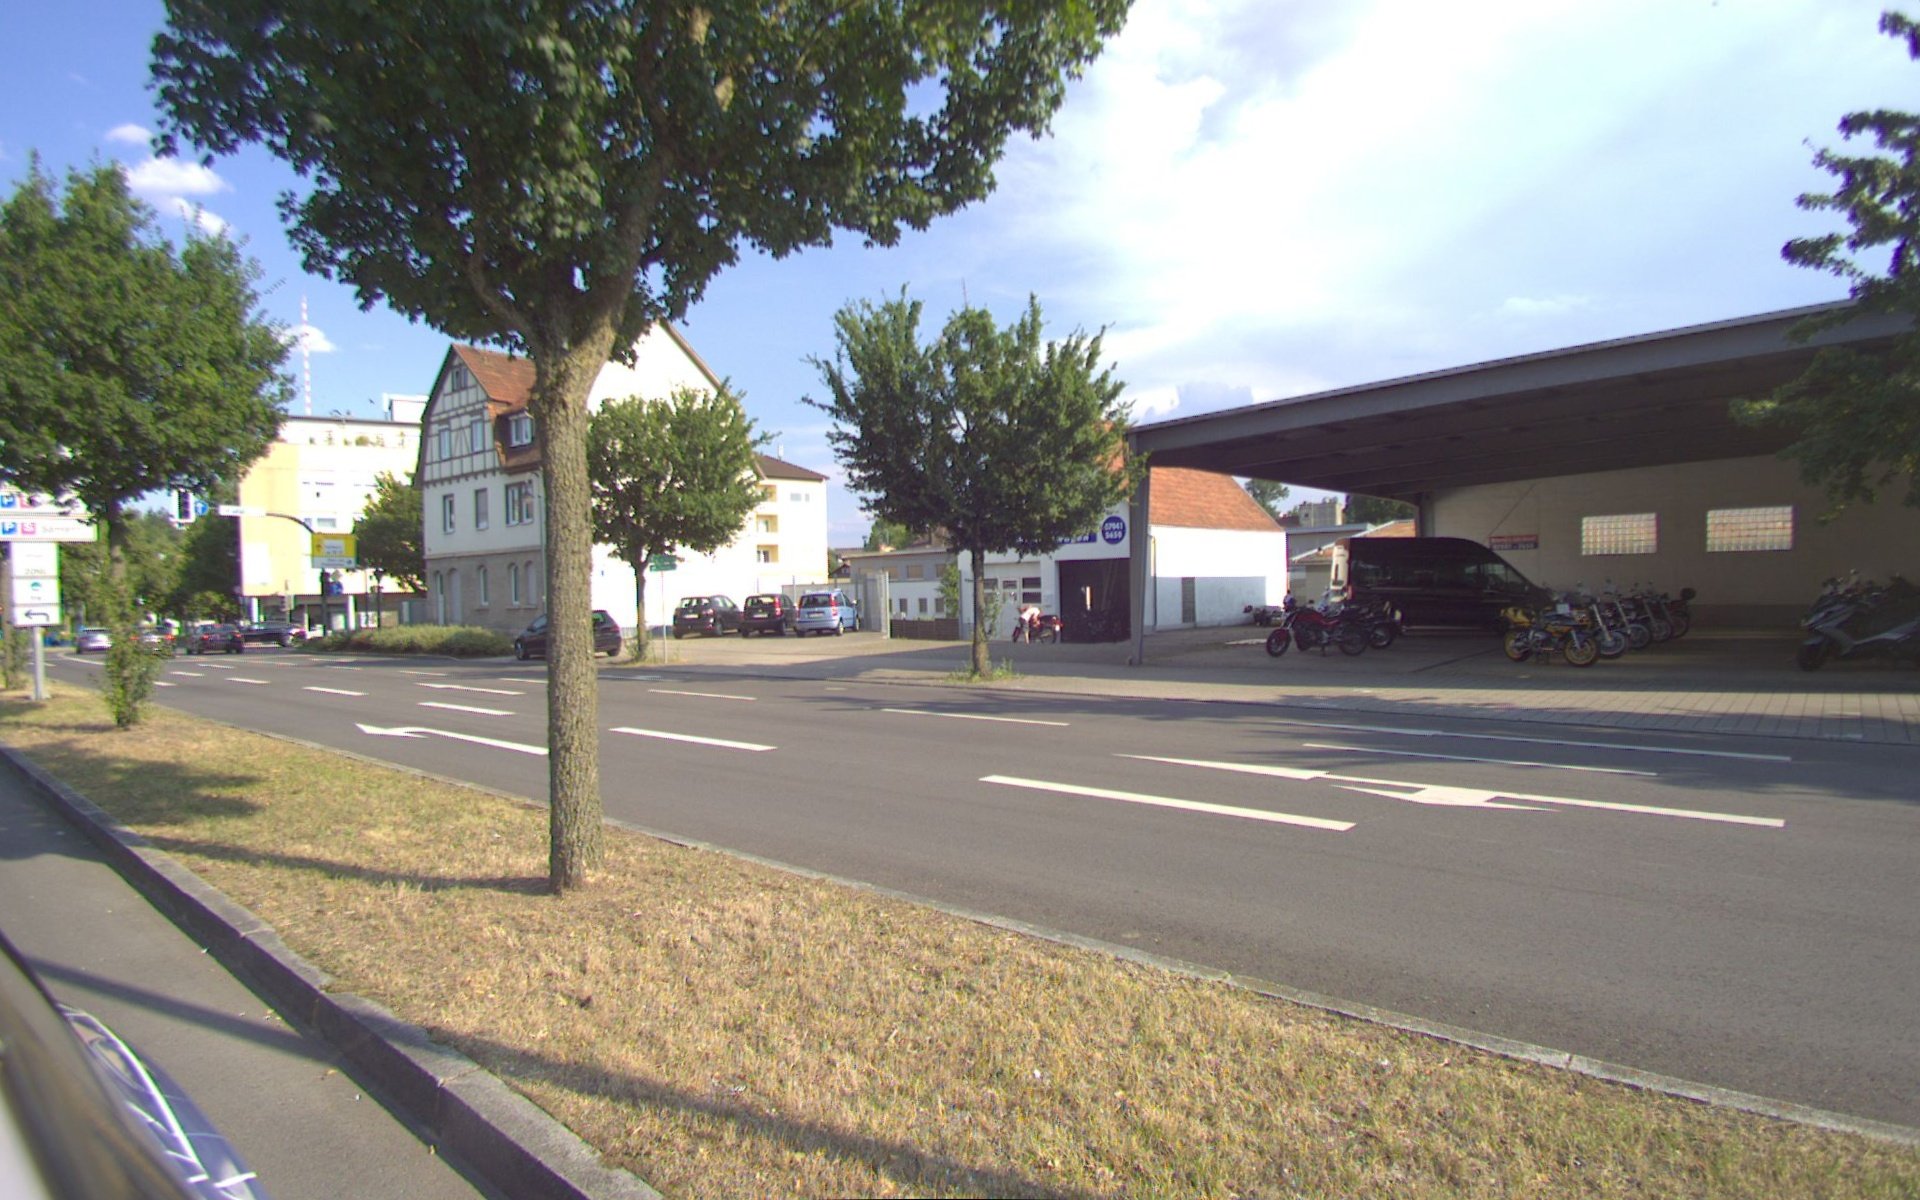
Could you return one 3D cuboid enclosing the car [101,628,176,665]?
[{"bbox_3d":[-34.397,1.907,42.339,4.186,1.397,1.628,-1,0,40],"label":"car"}]

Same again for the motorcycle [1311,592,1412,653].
[{"bbox_3d":[9.021,0.497,22.774,1.982,1.321,0.649,-1,0,5],"label":"motorcycle"}]

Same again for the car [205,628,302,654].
[{"bbox_3d":[-42.032,2.428,60.234,4.594,1.364,1.770,-1,0,-41],"label":"car"}]

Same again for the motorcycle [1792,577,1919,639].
[{"bbox_3d":[19.910,0.178,22.530,2.068,1.317,0.561,-1,0,12],"label":"motorcycle"}]

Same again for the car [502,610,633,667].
[{"bbox_3d":[-11.741,1.108,30.162,4.193,1.454,1.816,-1,3,41],"label":"car"}]

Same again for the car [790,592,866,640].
[{"bbox_3d":[-4.603,0.536,35.760,1.746,1.564,3.992,-1,0,7],"label":"car"}]

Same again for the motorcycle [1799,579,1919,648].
[{"bbox_3d":[17.966,0.270,19.997,2.068,1.317,0.581,-1,0,12],"label":"motorcycle"}]

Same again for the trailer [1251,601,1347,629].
[{"bbox_3d":[12.513,0.533,37.257,2.449,0.831,3.152,-1,2,38],"label":"trailer"}]

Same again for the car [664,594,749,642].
[{"bbox_3d":[-9.378,0.627,37.786,1.747,1.563,3.992,-2,1,7],"label":"car"}]

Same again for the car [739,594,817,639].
[{"bbox_3d":[-6.677,0.589,37.457,1.746,1.564,3.992,-1,0,7],"label":"car"}]

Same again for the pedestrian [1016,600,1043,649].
[{"bbox_3d":[2.243,0.783,32.748,0.642,1.535,0.676,-1,0,-21],"label":"pedestrian"}]

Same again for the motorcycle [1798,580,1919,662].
[{"bbox_3d":[15.271,0.342,16.775,2.068,1.317,0.561,-1,0,12],"label":"motorcycle"}]

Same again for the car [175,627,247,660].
[{"bbox_3d":[-35.528,2.018,47.967,4.642,1.432,1.824,-1,0,41],"label":"car"}]

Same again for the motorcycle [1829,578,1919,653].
[{"bbox_3d":[17.096,0.275,18.260,2.068,1.317,0.621,-1,0,12],"label":"motorcycle"}]

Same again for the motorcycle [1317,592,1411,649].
[{"bbox_3d":[9.788,0.489,24.554,1.982,1.321,0.649,-1,0,5],"label":"motorcycle"}]

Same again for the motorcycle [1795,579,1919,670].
[{"bbox_3d":[13.884,0.362,15.133,2.093,1.317,0.561,-1,0,12],"label":"motorcycle"}]

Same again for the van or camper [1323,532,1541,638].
[{"bbox_3d":[12.759,-0.369,27.680,4.980,2.700,1.995,-1,0,9],"label":"van or camper"}]

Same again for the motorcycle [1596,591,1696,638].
[{"bbox_3d":[17.203,0.358,25.439,0.553,1.131,2.161,-1,0,-19],"label":"motorcycle"}]

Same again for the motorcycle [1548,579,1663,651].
[{"bbox_3d":[13.794,0.307,21.698,0.584,1.459,2.161,-1,0,-19],"label":"motorcycle"}]

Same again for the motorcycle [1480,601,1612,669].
[{"bbox_3d":[10.440,0.606,18.133,0.620,1.132,2.161,-1,0,-19],"label":"motorcycle"}]

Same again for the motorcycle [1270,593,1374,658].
[{"bbox_3d":[7.552,0.541,21.191,1.991,1.321,0.665,-1,0,18],"label":"motorcycle"}]

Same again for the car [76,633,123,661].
[{"bbox_3d":[-46.288,2.505,54.484,1.757,1.359,4.487,-1,0,-39],"label":"car"}]

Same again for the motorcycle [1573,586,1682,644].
[{"bbox_3d":[15.435,0.344,23.484,0.636,1.268,2.161,-1,0,-19],"label":"motorcycle"}]

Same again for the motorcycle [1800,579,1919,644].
[{"bbox_3d":[18.956,0.234,21.175,2.068,1.317,0.561,-1,0,12],"label":"motorcycle"}]

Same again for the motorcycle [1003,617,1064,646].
[{"bbox_3d":[2.404,1.022,33.361,2.212,0.927,0.500,-1,0,45],"label":"motorcycle"}]

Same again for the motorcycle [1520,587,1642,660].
[{"bbox_3d":[12.113,0.439,19.846,0.553,1.340,2.161,-1,0,-19],"label":"motorcycle"}]
